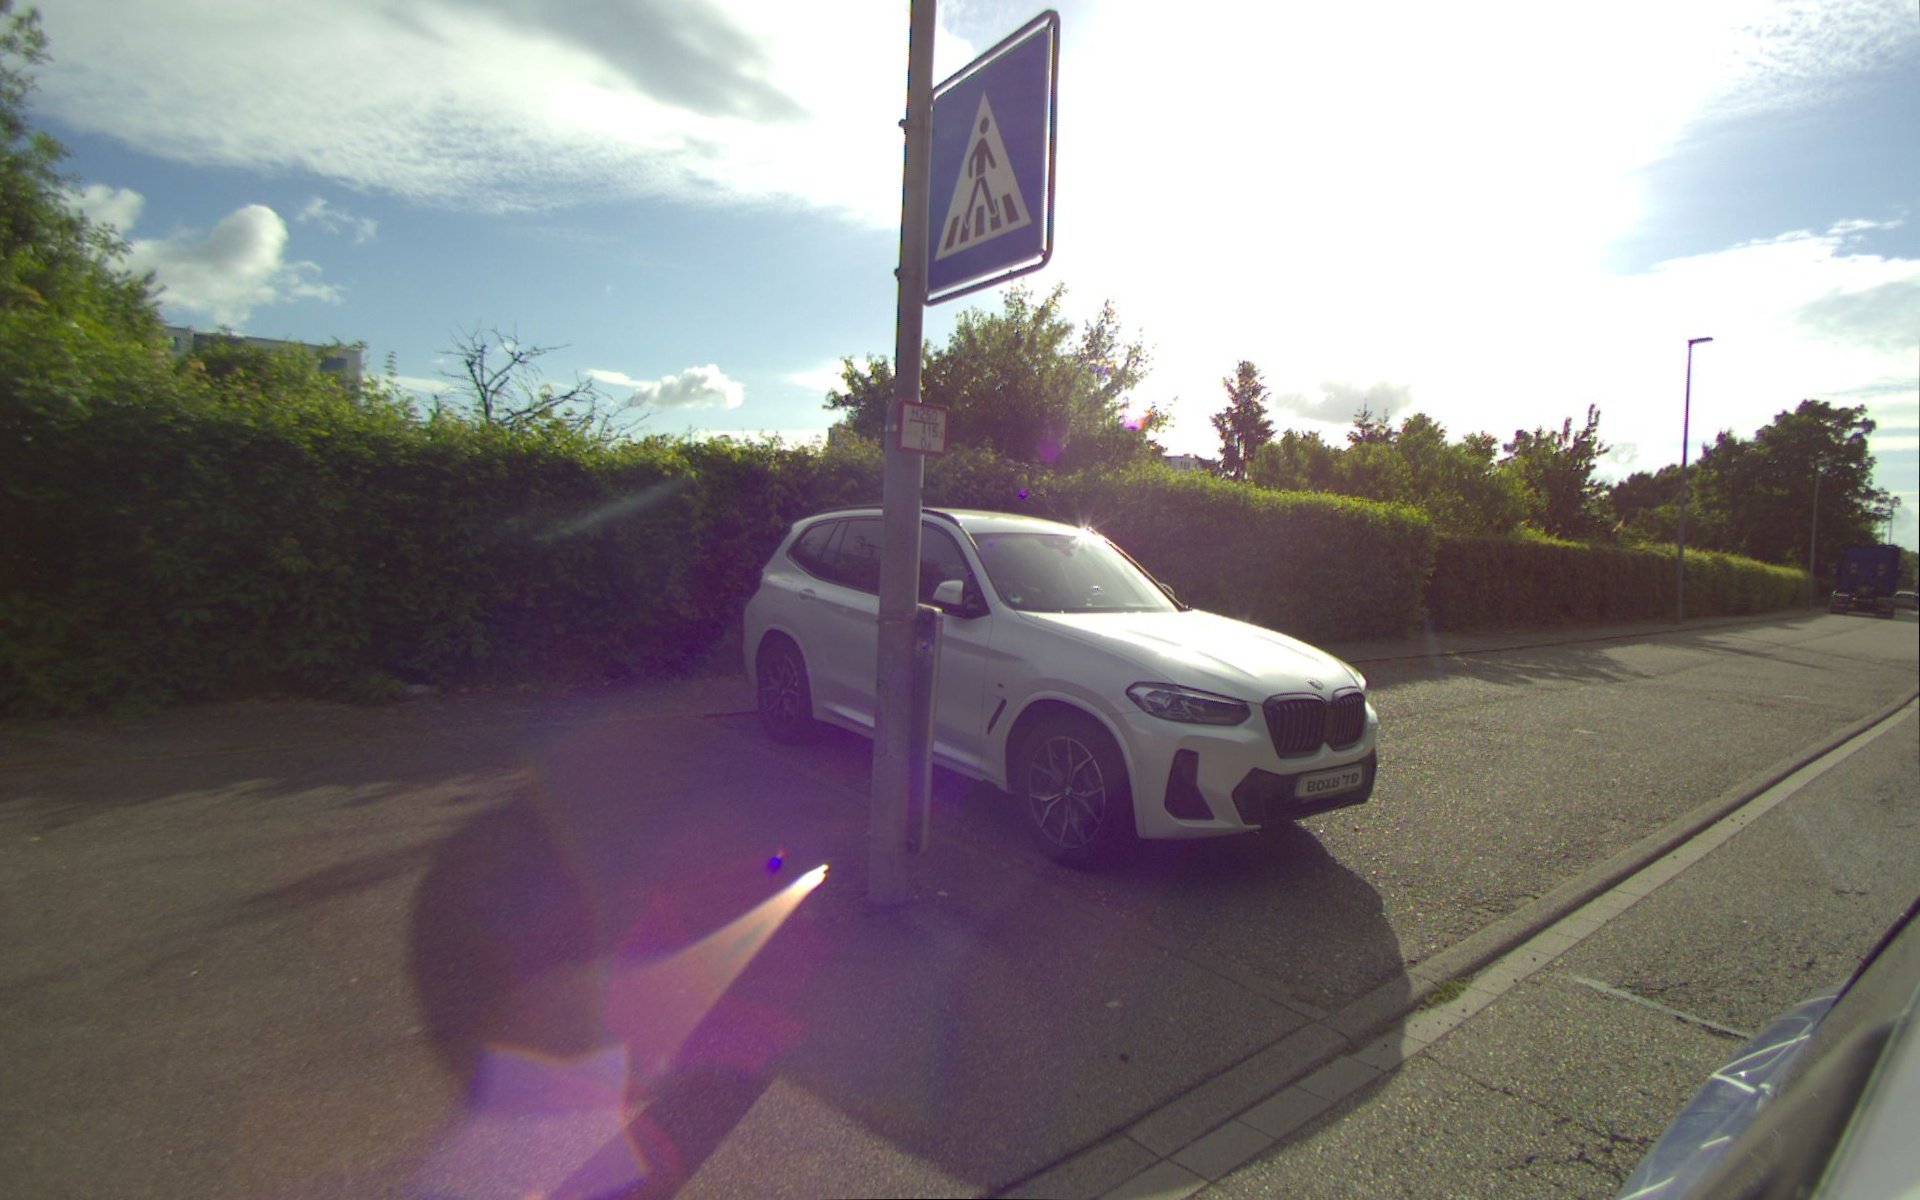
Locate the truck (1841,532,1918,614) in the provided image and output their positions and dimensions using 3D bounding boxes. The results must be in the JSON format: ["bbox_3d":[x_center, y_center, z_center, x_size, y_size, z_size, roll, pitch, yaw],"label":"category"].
[{"bbox_3d":[49.487,-1.451,54.536,2.596,4.004,6.188,8,6,42],"label":"truck"}]

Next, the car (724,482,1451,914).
[{"bbox_3d":[0.336,0.183,6.397,1.731,1.719,4.603,-1,6,-38],"label":"car"}]

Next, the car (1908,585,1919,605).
[{"bbox_3d":[82.184,-0.405,86.328,1.747,1.589,3.802,6,5,43],"label":"car"}]
